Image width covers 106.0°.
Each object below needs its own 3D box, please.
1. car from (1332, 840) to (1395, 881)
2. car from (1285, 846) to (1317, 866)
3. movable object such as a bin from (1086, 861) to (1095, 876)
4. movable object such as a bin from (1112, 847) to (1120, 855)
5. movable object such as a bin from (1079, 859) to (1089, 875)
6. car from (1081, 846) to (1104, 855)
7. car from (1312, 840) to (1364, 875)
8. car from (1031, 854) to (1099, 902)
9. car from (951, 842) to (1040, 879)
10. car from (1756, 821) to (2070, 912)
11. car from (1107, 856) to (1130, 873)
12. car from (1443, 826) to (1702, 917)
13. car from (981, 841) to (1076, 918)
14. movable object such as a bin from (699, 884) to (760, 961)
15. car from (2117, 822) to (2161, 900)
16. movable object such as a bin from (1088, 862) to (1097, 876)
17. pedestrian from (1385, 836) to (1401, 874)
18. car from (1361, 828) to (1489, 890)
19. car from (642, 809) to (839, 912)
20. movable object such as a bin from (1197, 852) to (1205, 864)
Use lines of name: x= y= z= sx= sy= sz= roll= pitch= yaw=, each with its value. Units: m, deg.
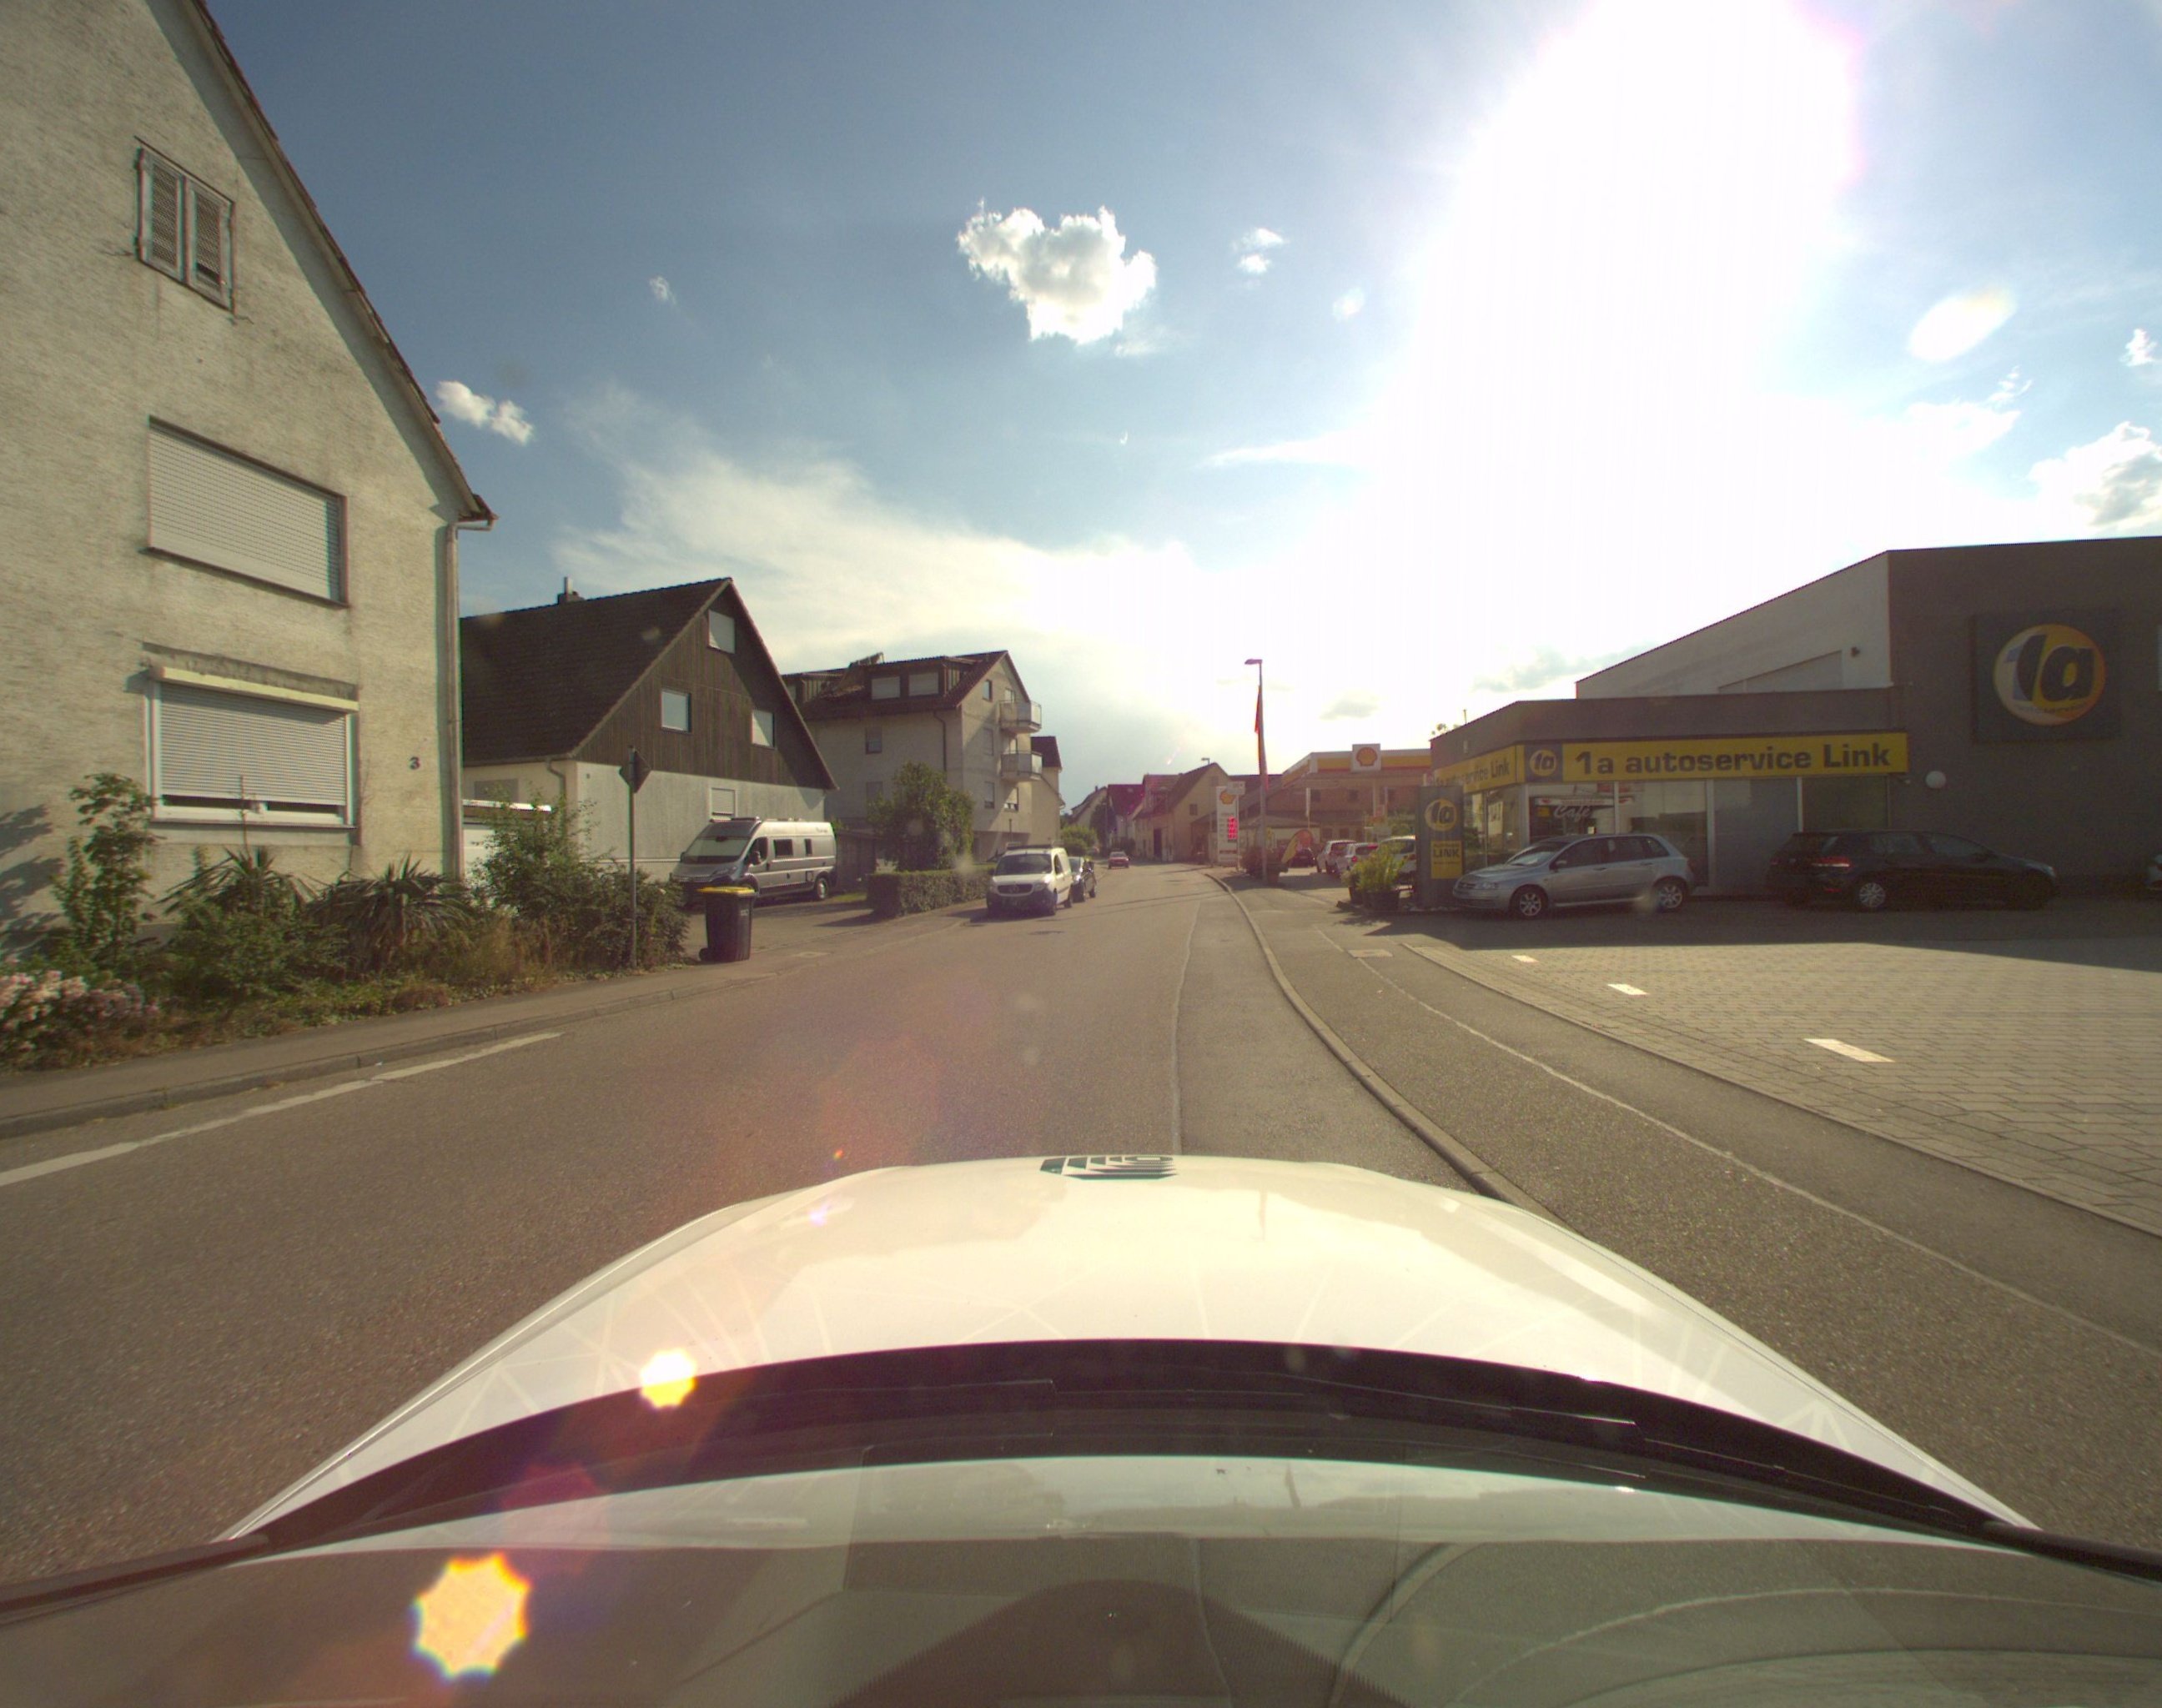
car: x=11.881 y=0.240 z=34.490 sx=1.663 sy=1.577 sz=4.006 roll=-2 pitch=0 yaw=7
car: x=16.081 y=0.102 z=59.760 sx=1.570 sy=1.427 sz=4.388 roll=-1 pitch=1 yaw=5
movable object such as a bin: x=0.687 y=0.991 z=57.150 sx=0.529 sy=1.022 sz=0.458 roll=-3 pitch=0 yaw=6
movable object such as a bin: x=5.245 y=-0.482 z=121.401 sx=1.159 sy=1.168 sz=0.654 roll=-1 pitch=0 yaw=-6
movable object such as a bin: x=0.216 y=0.872 z=55.471 sx=0.585 sy=1.084 sz=0.509 roll=-3 pitch=0 yaw=6
car: x=2.052 y=-0.632 z=142.474 sx=3.977 sy=1.352 sz=1.709 roll=-1 pitch=0 yaw=-3
car: x=12.477 y=0.136 z=39.784 sx=1.663 sy=1.577 sz=4.006 roll=-2 pitch=0 yaw=7
car: x=-0.478 y=0.765 z=27.892 sx=1.663 sy=1.451 sz=3.843 roll=-2 pitch=0 yaw=8
car: x=-4.267 y=0.296 z=40.621 sx=3.956 sy=1.538 sz=1.771 roll=3 pitch=2 yaw=18
car: x=14.977 y=0.189 z=14.838 sx=3.888 sy=1.467 sz=1.718 roll=-1 pitch=2 yaw=3
car: x=3.290 y=0.920 z=72.230 sx=1.705 sy=1.435 sz=3.776 roll=-3 pitch=0 yaw=-3
car: x=9.235 y=0.310 z=15.504 sx=3.972 sy=1.531 sz=1.528 roll=-2 pitch=0 yaw=1
car: x=-1.333 y=0.636 z=22.464 sx=1.707 sy=1.872 sz=4.201 roll=-2 pitch=0 yaw=8
movable object such as a bin: x=-5.226 y=1.007 z=12.127 sx=0.607 sy=1.101 sz=0.577 roll=0 pitch=-1 yaw=7
car: x=21.682 y=0.102 z=14.601 sx=3.888 sy=1.408 sz=1.718 roll=-1 pitch=2 yaw=3
movable object such as a bin: x=0.802 y=1.064 z=57.819 sx=0.529 sy=1.022 sz=0.458 roll=-3 pitch=0 yaw=6
pedestrian: x=14.035 y=0.054 z=36.639 sx=0.498 sy=1.670 sz=0.535 roll=-1 pitch=0 yaw=7
car: x=10.645 y=0.125 z=25.104 sx=4.096 sy=1.674 sz=1.659 roll=-3 pitch=0 yaw=-36
car: x=-9.574 y=0.136 z=23.704 sx=2.144 sy=2.596 sz=6.114 roll=0 pitch=0 yaw=12
movable object such as a bin: x=10.560 y=0.329 z=71.691 sx=0.650 sy=1.073 sz=0.513 roll=-1 pitch=0 yaw=3
